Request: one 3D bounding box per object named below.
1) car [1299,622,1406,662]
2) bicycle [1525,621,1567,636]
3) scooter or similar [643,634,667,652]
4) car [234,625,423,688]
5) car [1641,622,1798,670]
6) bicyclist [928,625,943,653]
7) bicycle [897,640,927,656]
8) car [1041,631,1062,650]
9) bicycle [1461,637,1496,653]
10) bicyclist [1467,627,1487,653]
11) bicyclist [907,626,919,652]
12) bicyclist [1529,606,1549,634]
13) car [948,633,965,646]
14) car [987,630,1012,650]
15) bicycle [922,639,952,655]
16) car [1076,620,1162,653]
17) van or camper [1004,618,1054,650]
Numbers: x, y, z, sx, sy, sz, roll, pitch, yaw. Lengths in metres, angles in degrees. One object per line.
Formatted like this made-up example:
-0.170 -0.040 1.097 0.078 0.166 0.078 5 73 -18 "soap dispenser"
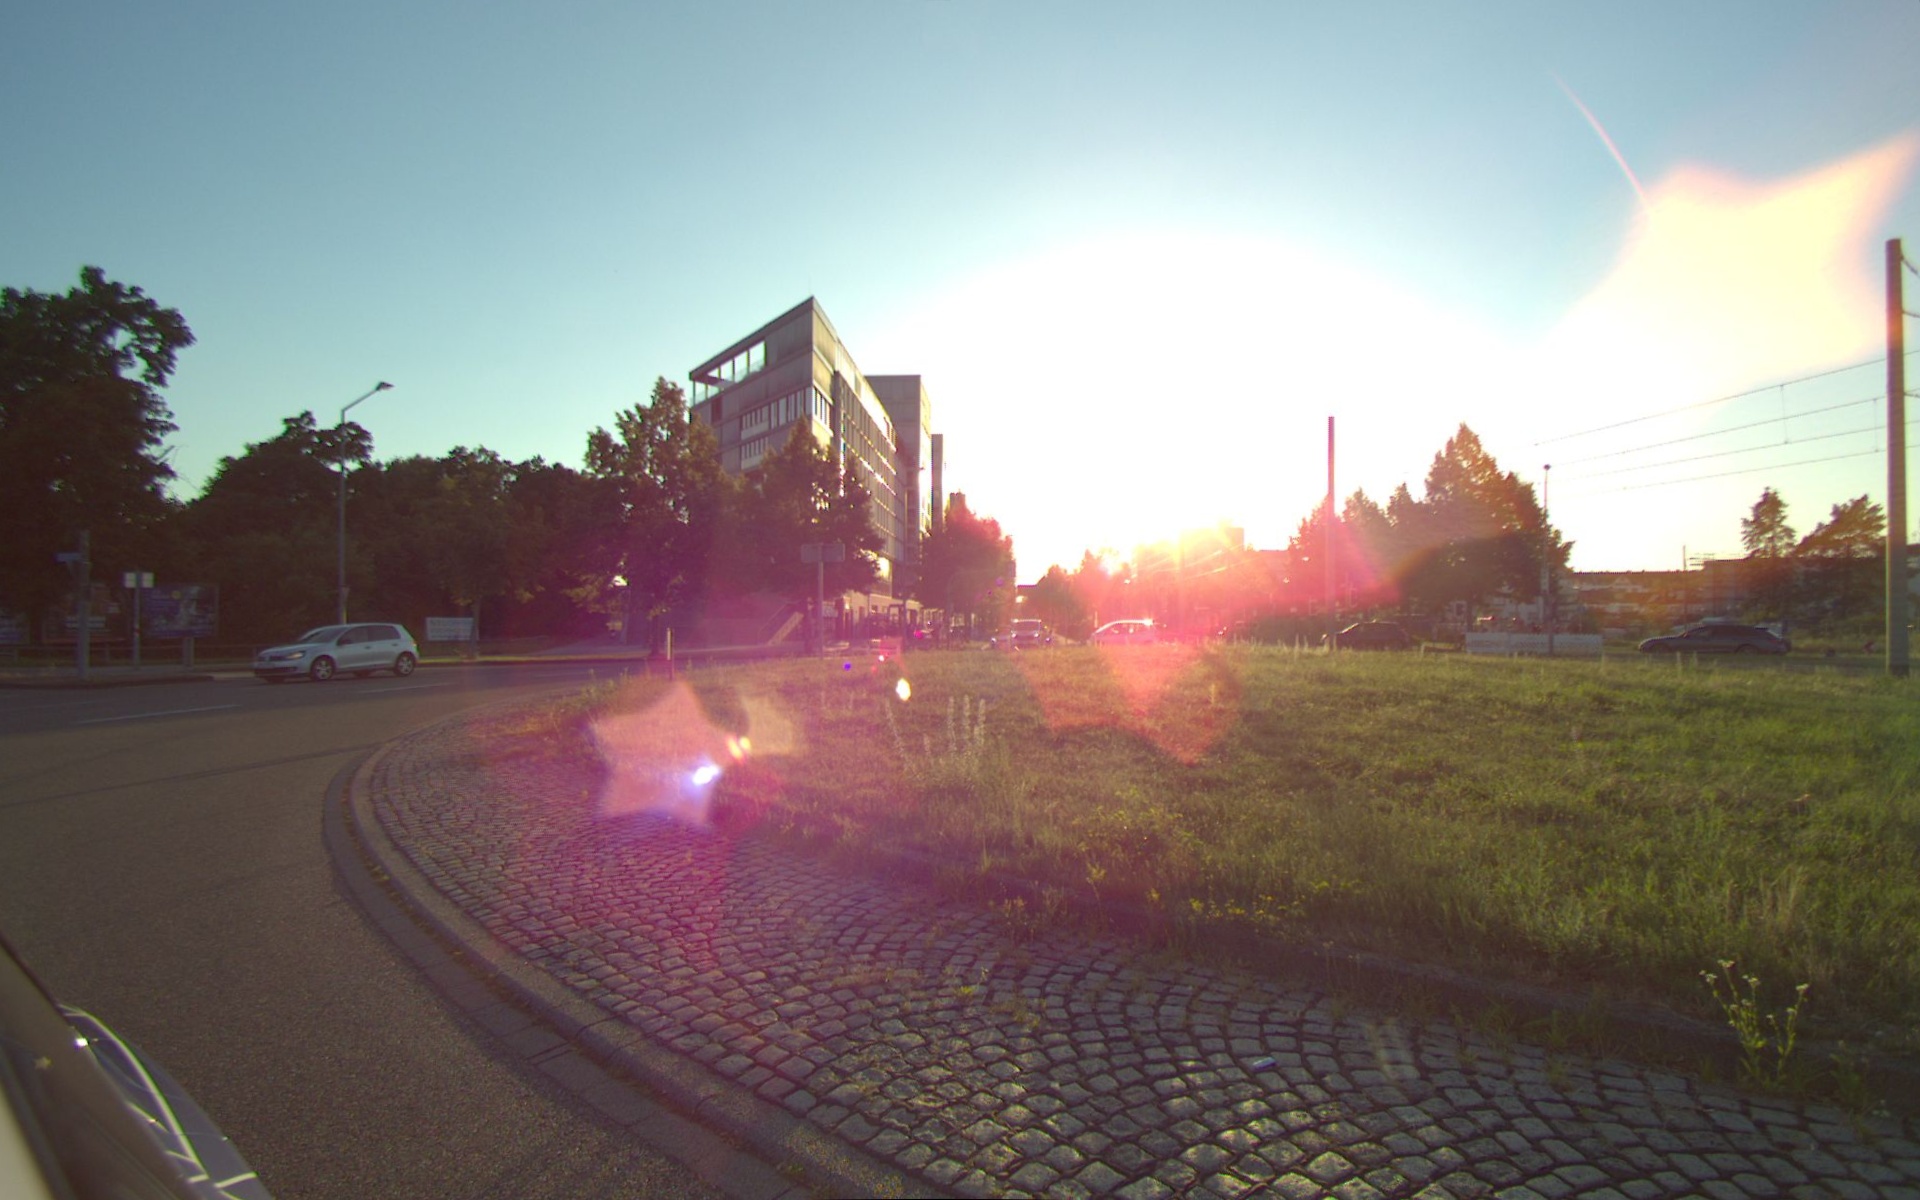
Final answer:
18.337 1.957 47.333 4.569 1.761 1.737 -1 -2 24 "car"
34.670 1.699 59.907 0.504 0.852 2.140 1 -3 -37 "bicycle"
-20.439 2.887 67.896 1.562 1.229 0.365 -1 -2 14 "scooter or similar"
-16.612 1.432 26.858 1.877 1.492 4.027 -1 -1 18 "car"
29.467 1.773 39.368 1.724 1.761 4.603 1 -3 -41 "car"
-1.582 2.464 64.642 0.840 1.769 0.801 -1 -2 10 "bicyclist"
-3.017 2.991 63.051 1.834 1.030 0.308 0 -2 -6 "bicycle"
7.767 3.408 85.680 1.724 1.548 3.993 0 -1 5 "car"
32.055 2.778 62.637 1.821 0.988 0.548 -1 -2 7 "bicycle"
32.010 2.474 62.649 0.805 1.653 0.813 -1 -2 7 "bicyclist"
-2.941 2.436 63.300 0.674 1.660 0.685 0 -2 -6 "bicyclist"
34.386 1.204 60.107 0.684 1.646 0.800 1 -3 -37 "bicyclist"
-0.362 4.491 115.488 1.779 1.475 3.996 0 -2 3 "car"
2.993 2.994 76.083 1.779 1.475 3.996 0 -1 3 "car"
-1.489 3.019 64.940 1.843 1.030 0.436 -1 -2 11 "bicycle"
7.419 1.702 47.411 3.653 1.476 1.609 0 -2 -7 "car"
4.451 2.128 64.402 1.984 1.972 5.296 -1 -1 18 "van or camper"
